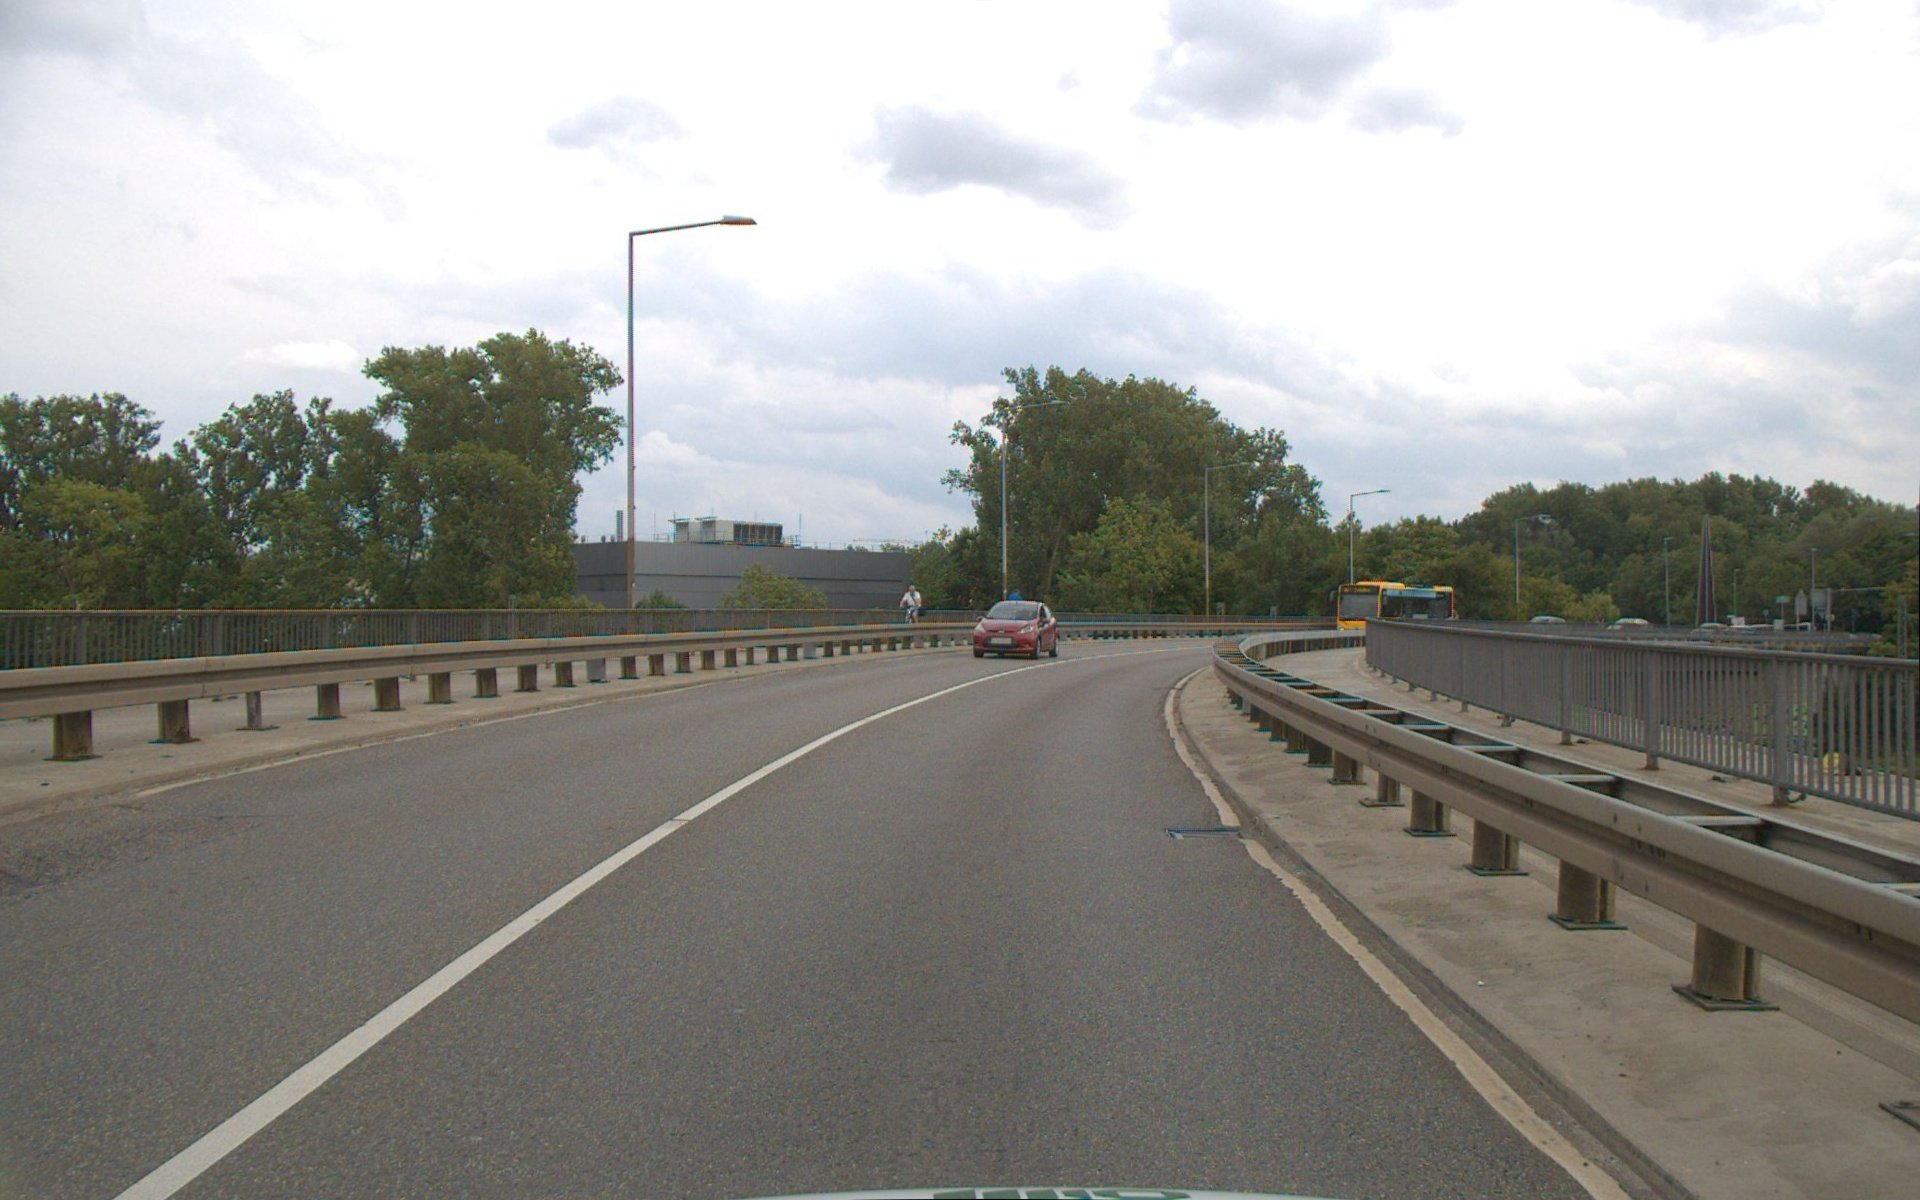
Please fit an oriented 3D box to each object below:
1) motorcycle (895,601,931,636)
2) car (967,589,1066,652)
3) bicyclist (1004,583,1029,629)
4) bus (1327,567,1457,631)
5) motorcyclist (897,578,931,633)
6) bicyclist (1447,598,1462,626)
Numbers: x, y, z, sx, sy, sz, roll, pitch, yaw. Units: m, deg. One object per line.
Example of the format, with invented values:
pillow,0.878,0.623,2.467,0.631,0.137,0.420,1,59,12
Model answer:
motorcycle,-1.366,0.535,48.323,0.612,0.980,1.841,1,-1,13
car,1.498,0.523,42.309,1.721,1.518,4.003,1,-1,14
bicyclist,1.972,0.218,57.764,0.598,1.567,0.756,1,-1,27
bus,24.615,0.031,93.481,2.979,3.290,12.908,1,-1,34
motorcyclist,-1.349,0.162,48.376,0.792,1.556,0.825,1,-1,11
bicyclist,33.566,0.815,112.246,0.833,1.840,0.795,1,-1,30
